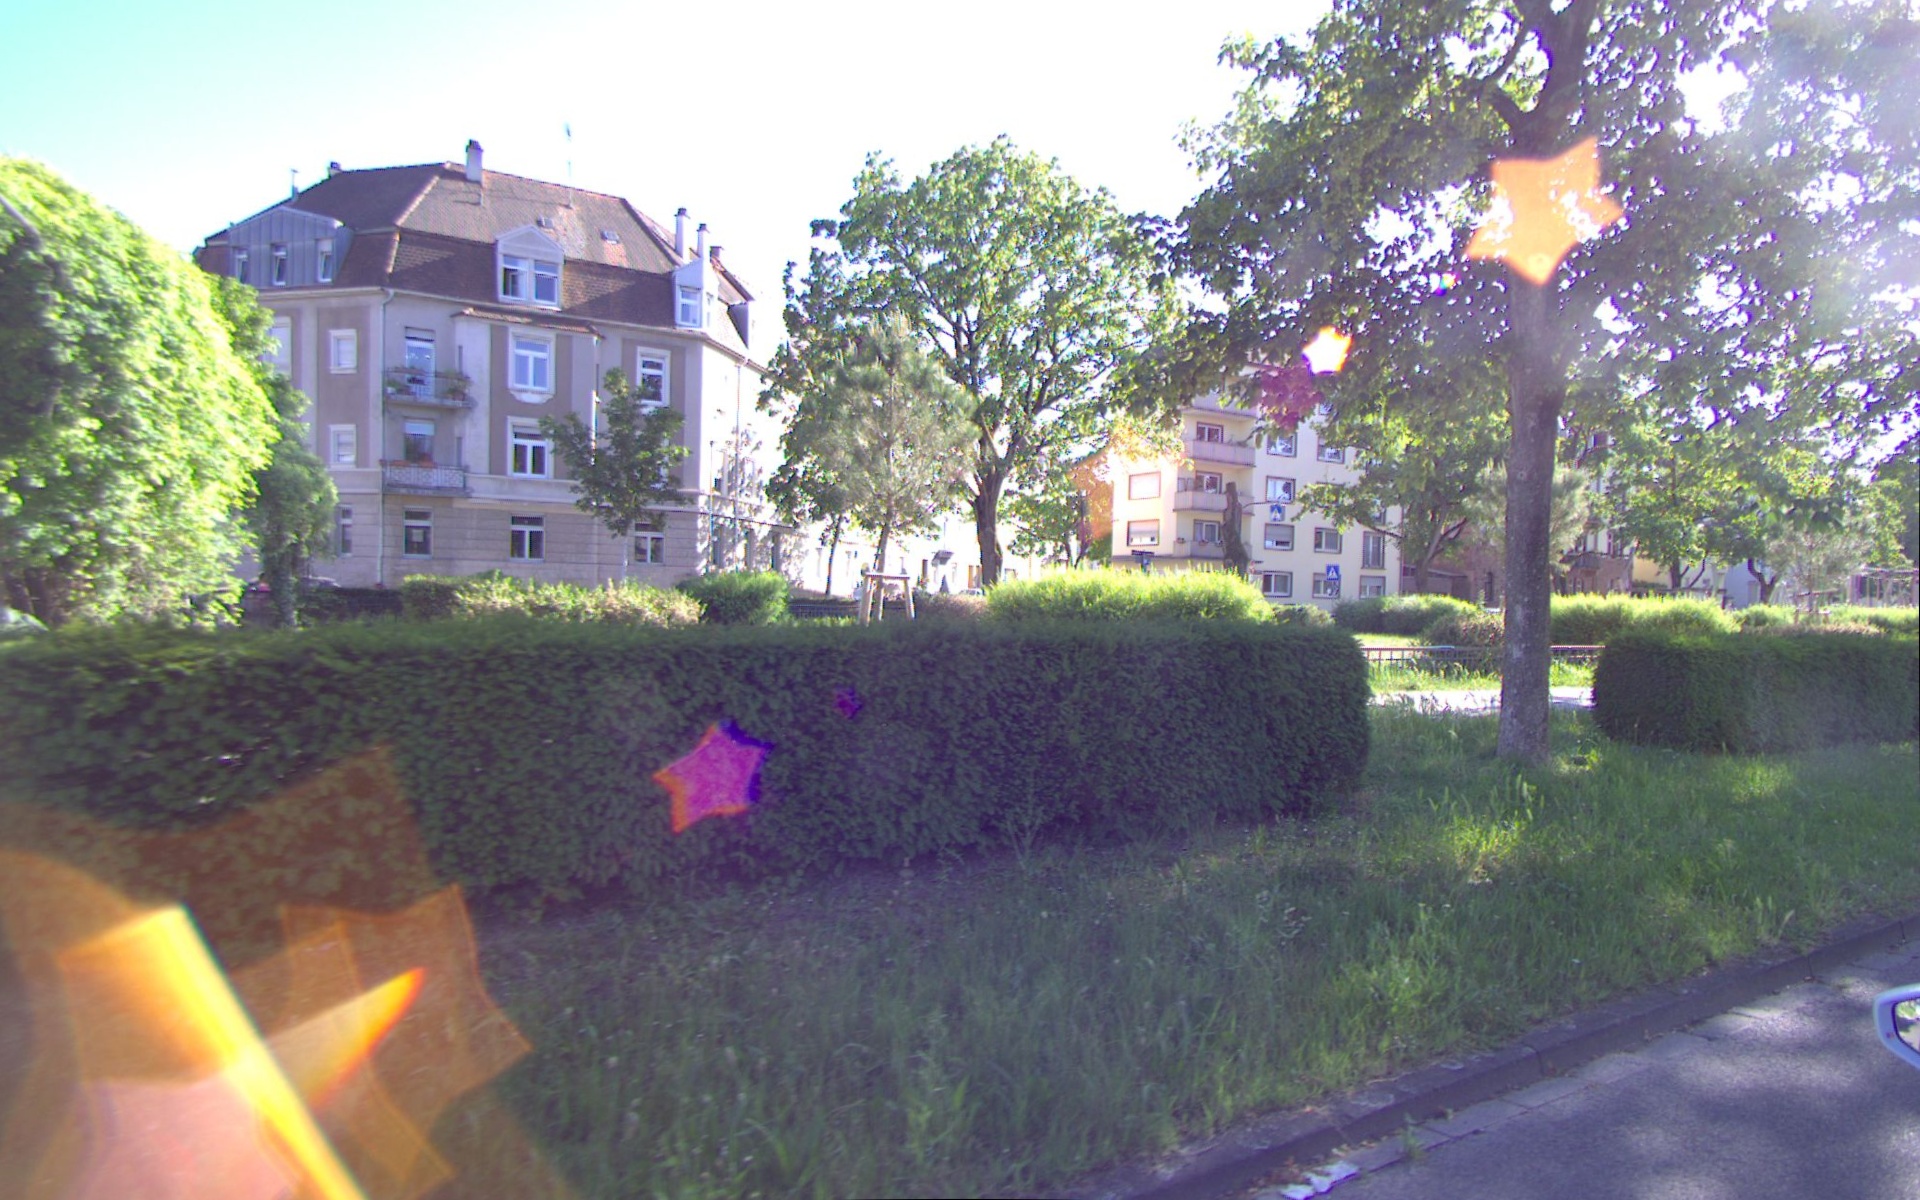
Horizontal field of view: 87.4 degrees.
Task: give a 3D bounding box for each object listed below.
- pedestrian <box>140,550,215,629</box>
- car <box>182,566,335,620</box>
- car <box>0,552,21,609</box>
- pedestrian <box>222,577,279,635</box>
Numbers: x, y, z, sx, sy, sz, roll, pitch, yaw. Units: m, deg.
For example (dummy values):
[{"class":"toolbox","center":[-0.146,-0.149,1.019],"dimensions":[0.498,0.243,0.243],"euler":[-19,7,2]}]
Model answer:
[{"class":"pedestrian","center":[-17.374,-0.251,22.314],"dimensions":[0.900,1.697,1.084],"euler":[2,4,41]},{"class":"car","center":[-22.085,-0.204,31.807],"dimensions":[3.863,1.503,1.851],"euler":[1,4,-33]},{"class":"car","center":[-28.723,-0.597,27.592],"dimensions":[3.972,1.503,1.851],"euler":[1,4,-33]},{"class":"pedestrian","center":[-14.403,0.127,20.397],"dimensions":[0.864,1.154,0.594],"euler":[1,1,-29]}]
